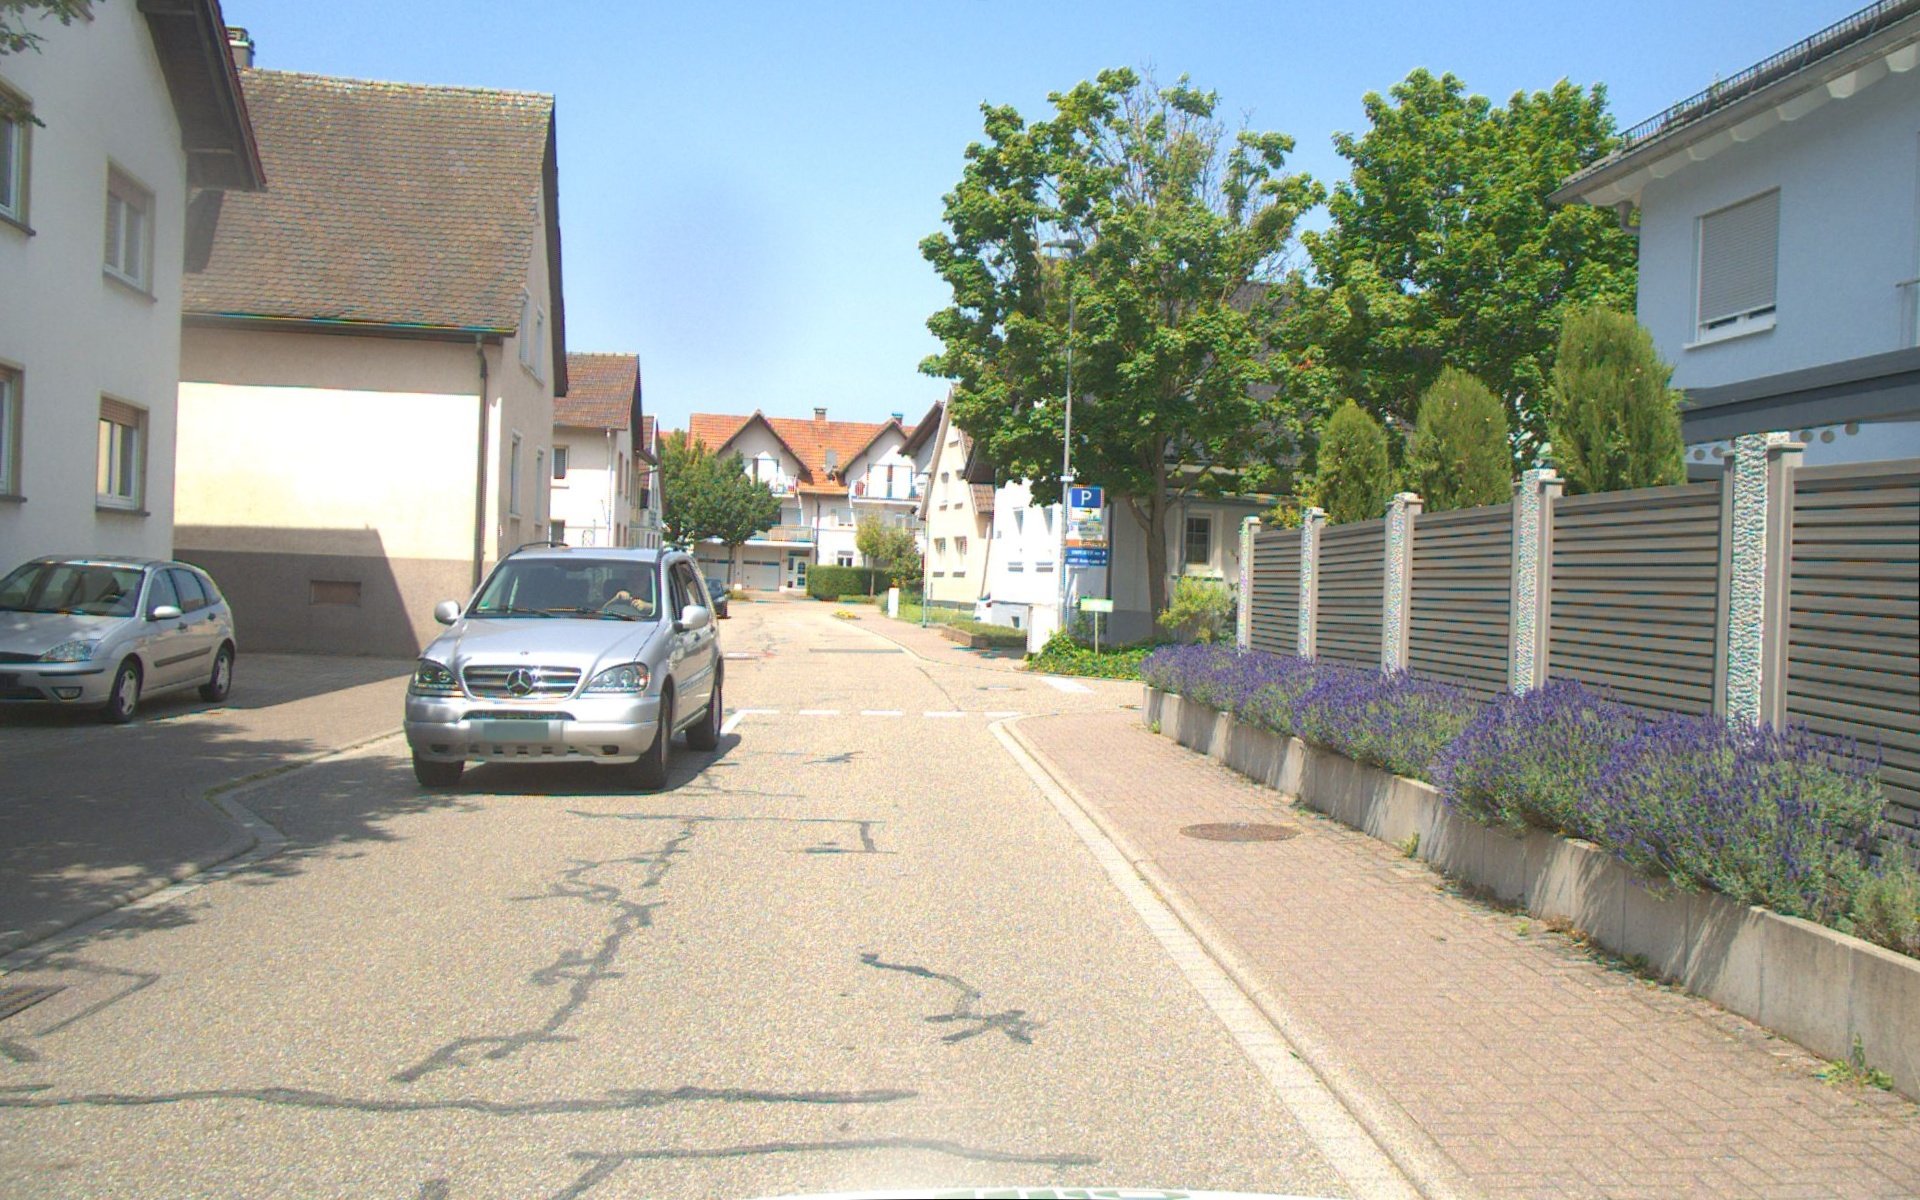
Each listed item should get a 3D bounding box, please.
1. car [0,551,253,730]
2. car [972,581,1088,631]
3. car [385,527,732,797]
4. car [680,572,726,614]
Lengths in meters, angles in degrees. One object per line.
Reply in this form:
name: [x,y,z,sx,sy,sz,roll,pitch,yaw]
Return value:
car: [-8.372,0.296,15.891,1.744,1.459,4.051,2,1,-6]
car: [1.977,0.174,47.010,2.992,1.369,1.417,1,0,-15]
car: [-2.984,0.388,13.233,1.847,1.798,4.329,0,1,-2]
car: [-9.511,-0.278,61.301,1.596,1.512,3.992,1,1,-9]
